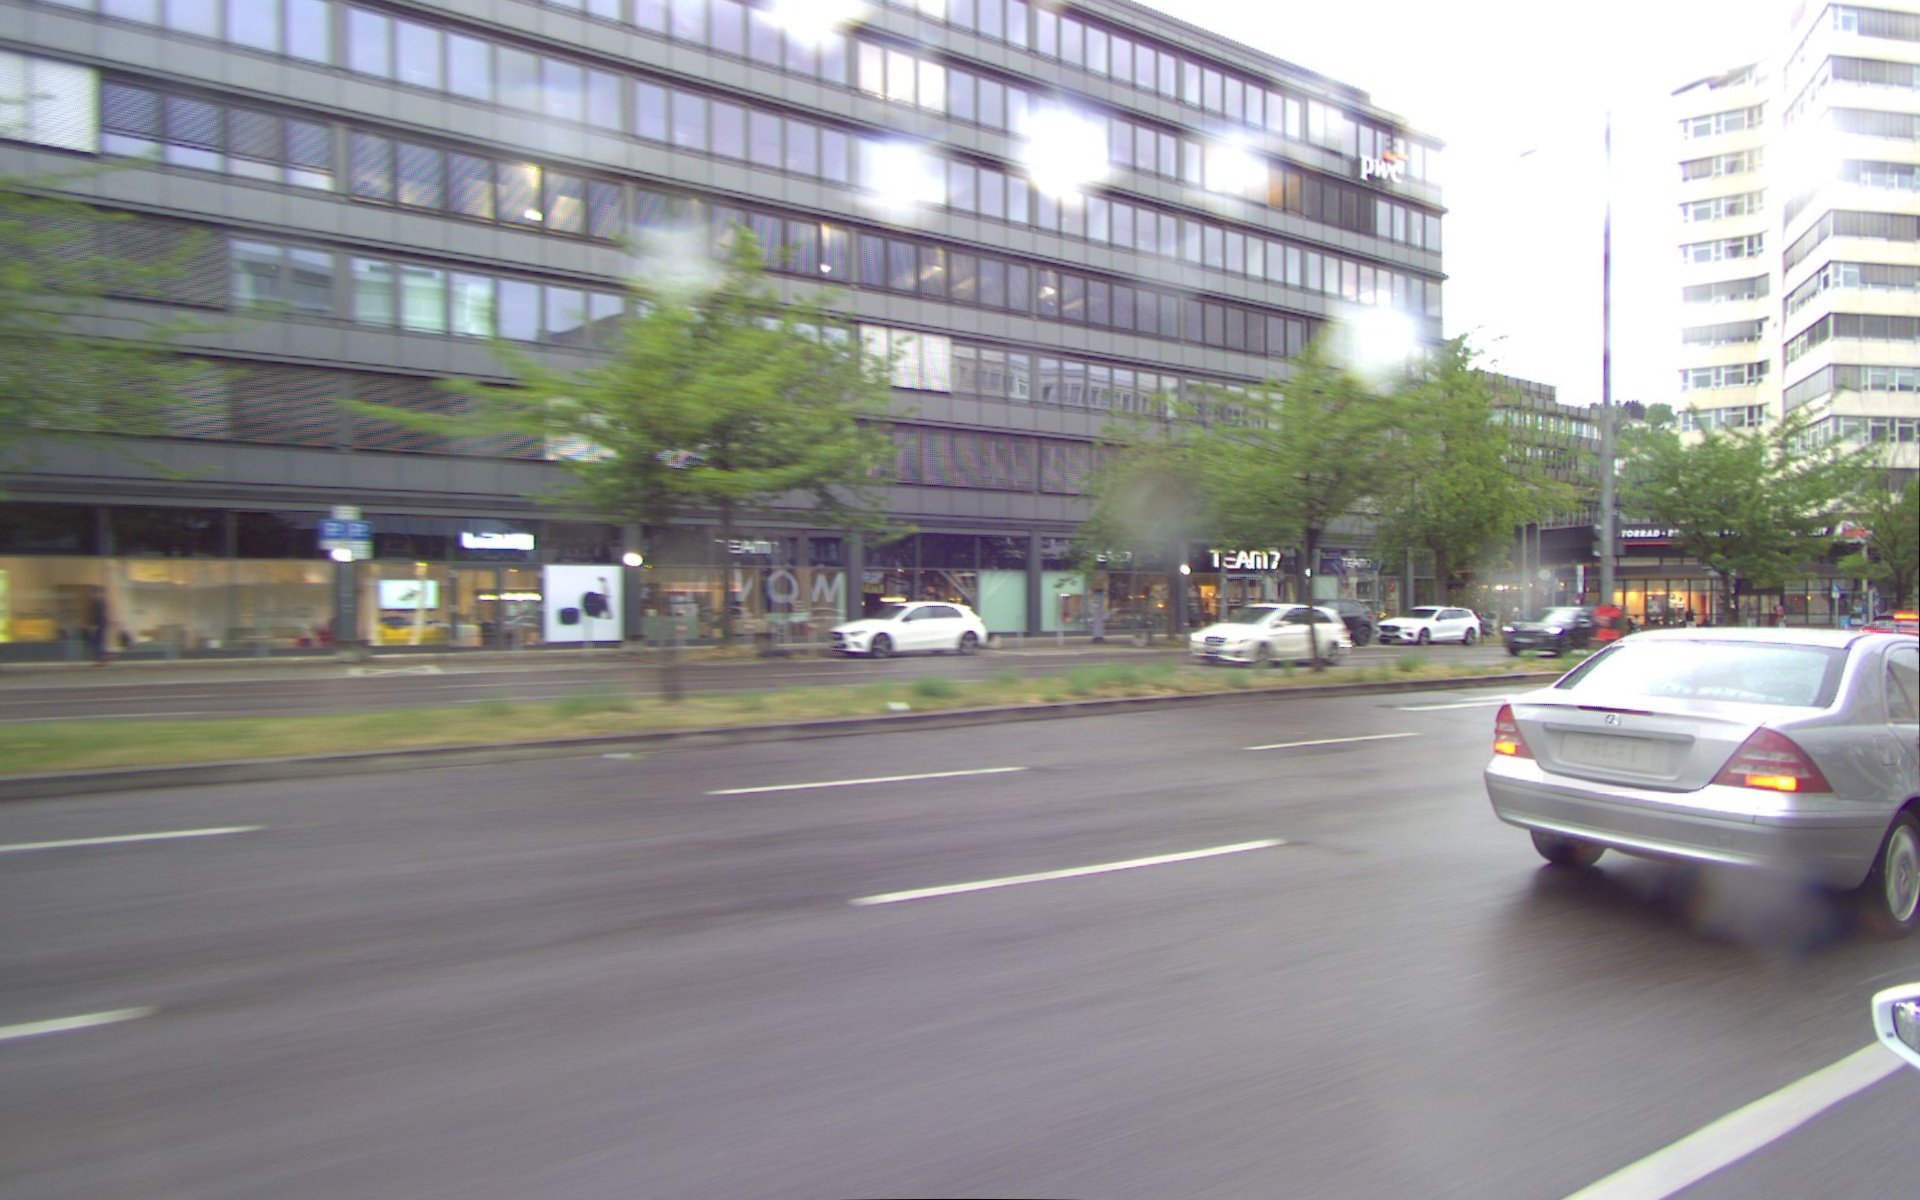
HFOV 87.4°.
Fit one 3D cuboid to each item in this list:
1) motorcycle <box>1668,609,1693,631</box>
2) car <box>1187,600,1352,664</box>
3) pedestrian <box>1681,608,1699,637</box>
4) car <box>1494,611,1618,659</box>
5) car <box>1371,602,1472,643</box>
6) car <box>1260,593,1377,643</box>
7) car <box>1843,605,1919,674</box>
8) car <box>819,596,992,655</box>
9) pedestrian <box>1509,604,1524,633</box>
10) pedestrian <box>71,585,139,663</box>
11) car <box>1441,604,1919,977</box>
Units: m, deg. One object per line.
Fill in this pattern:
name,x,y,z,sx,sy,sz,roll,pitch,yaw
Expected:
motorcycle,45.623,1.232,63.600,0.691,1.350,1.822,1,0,16
car,7.874,0.816,25.411,4.259,1.512,1.614,2,-1,-32
pedestrian,43.959,1.357,60.469,0.739,1.736,0.593,1,0,22
car,19.268,1.135,32.458,4.112,1.472,1.616,2,-1,-29
car,17.695,0.843,38.453,3.919,1.480,1.614,1,1,-32
car,12.635,0.632,35.351,4.185,1.632,1.614,1,1,-32
car,22.039,0.902,22.943,3.955,1.476,1.764,2,-1,-32
car,-1.422,0.695,26.841,4.397,1.451,1.614,2,-1,-32
pedestrian,30.001,1.006,54.156,0.591,1.523,0.437,1,0,22
pedestrian,-19.498,0.548,22.938,1.045,1.738,0.739,1,0,-31
car,4.952,0.826,5.921,4.309,1.499,1.664,1,0,-30
